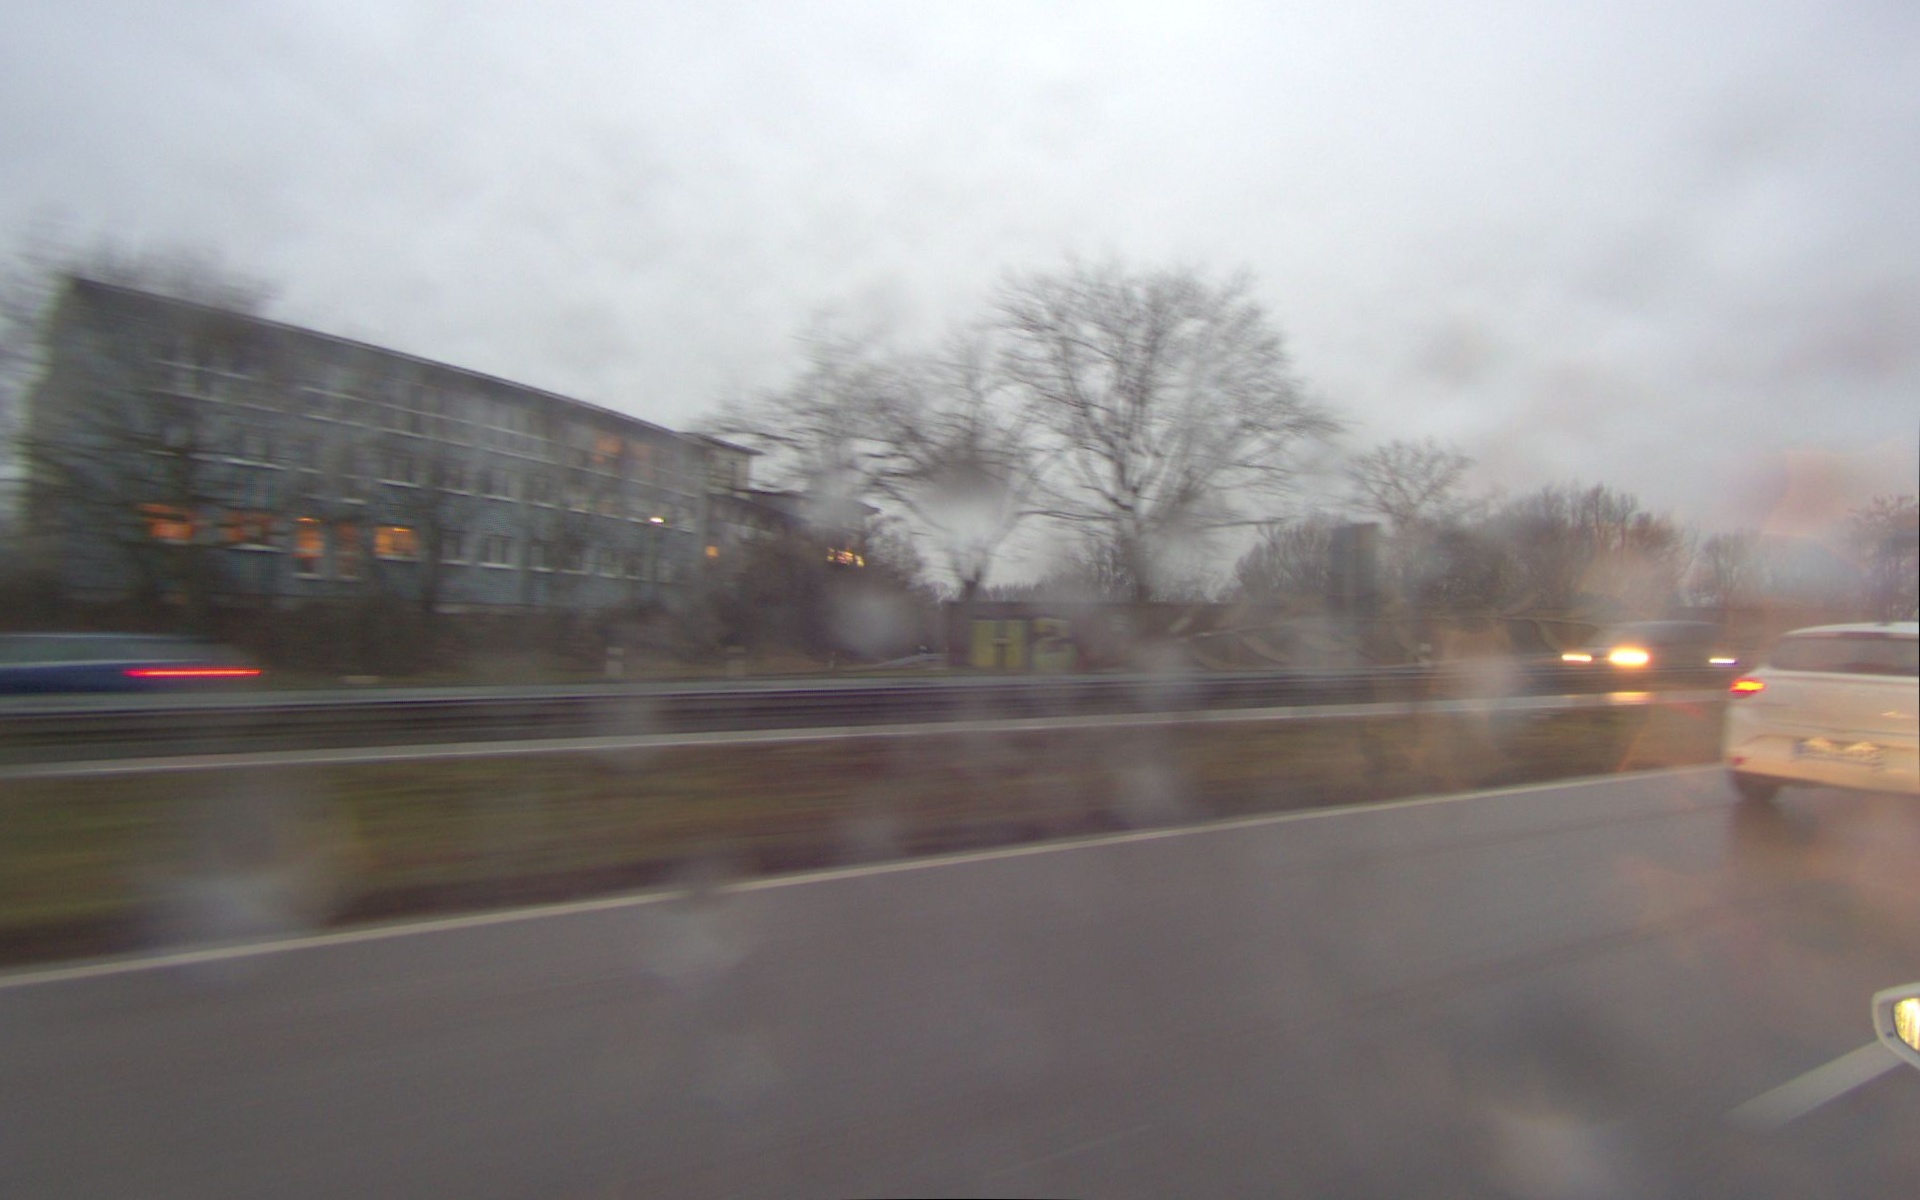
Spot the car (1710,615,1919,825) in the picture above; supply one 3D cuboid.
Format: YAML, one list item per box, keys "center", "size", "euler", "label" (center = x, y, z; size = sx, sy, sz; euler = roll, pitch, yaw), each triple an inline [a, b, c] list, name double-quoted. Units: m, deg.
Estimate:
- center: [8.323, 0.879, 8.330]
  size: [4.171, 1.459, 1.718]
  euler: [1, -1, -27]
  label: "car"

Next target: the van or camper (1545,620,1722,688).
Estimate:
- center: [18.666, 1.453, 27.816]
  size: [4.814, 1.759, 1.757]
  euler: [1, -1, -24]
  label: "van or camper"

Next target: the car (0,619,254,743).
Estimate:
- center: [-12.193, 1.046, 13.628]
  size: [4.000, 1.553, 1.777]
  euler: [2, -2, -27]
  label: "car"
